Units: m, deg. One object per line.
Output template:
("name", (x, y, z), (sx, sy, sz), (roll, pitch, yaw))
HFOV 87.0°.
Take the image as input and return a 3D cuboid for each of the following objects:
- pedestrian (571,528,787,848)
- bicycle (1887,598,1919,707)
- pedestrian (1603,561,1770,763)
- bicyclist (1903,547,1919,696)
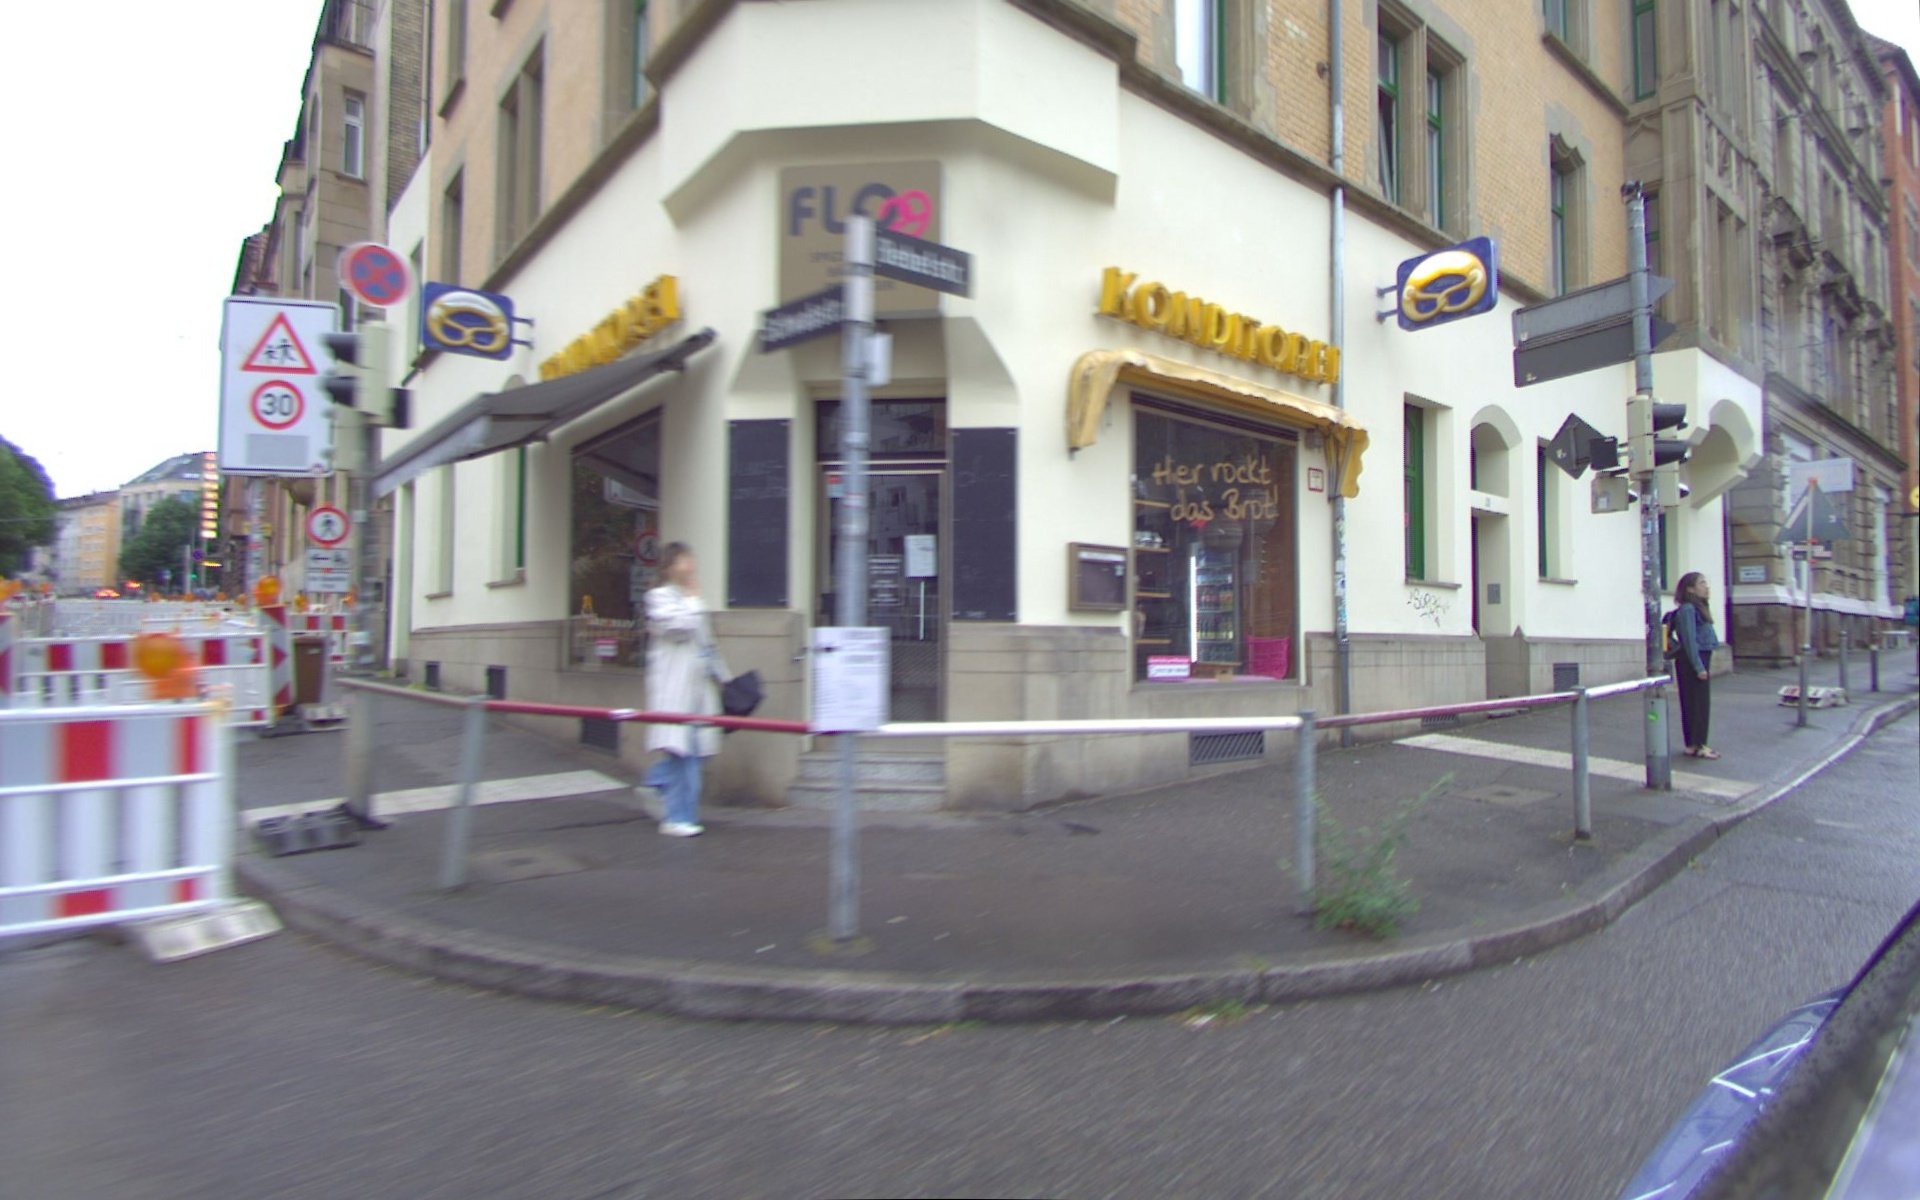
("pedestrian", (-1.658, 0.488, 6.076), (0.772, 1.726, 0.989), (-3, -1, 23))
("bicycle", (15.265, 0.753, 15.585), (3.077, 1.575, 0.936), (0, -1, -38))
("pedestrian", (6.773, 0.517, 9.453), (0.913, 1.742, 1.019), (0, 2, -38))
("bicyclist", (15.461, 0.314, 15.745), (1.264, 2.292, 0.920), (0, -1, -38))
